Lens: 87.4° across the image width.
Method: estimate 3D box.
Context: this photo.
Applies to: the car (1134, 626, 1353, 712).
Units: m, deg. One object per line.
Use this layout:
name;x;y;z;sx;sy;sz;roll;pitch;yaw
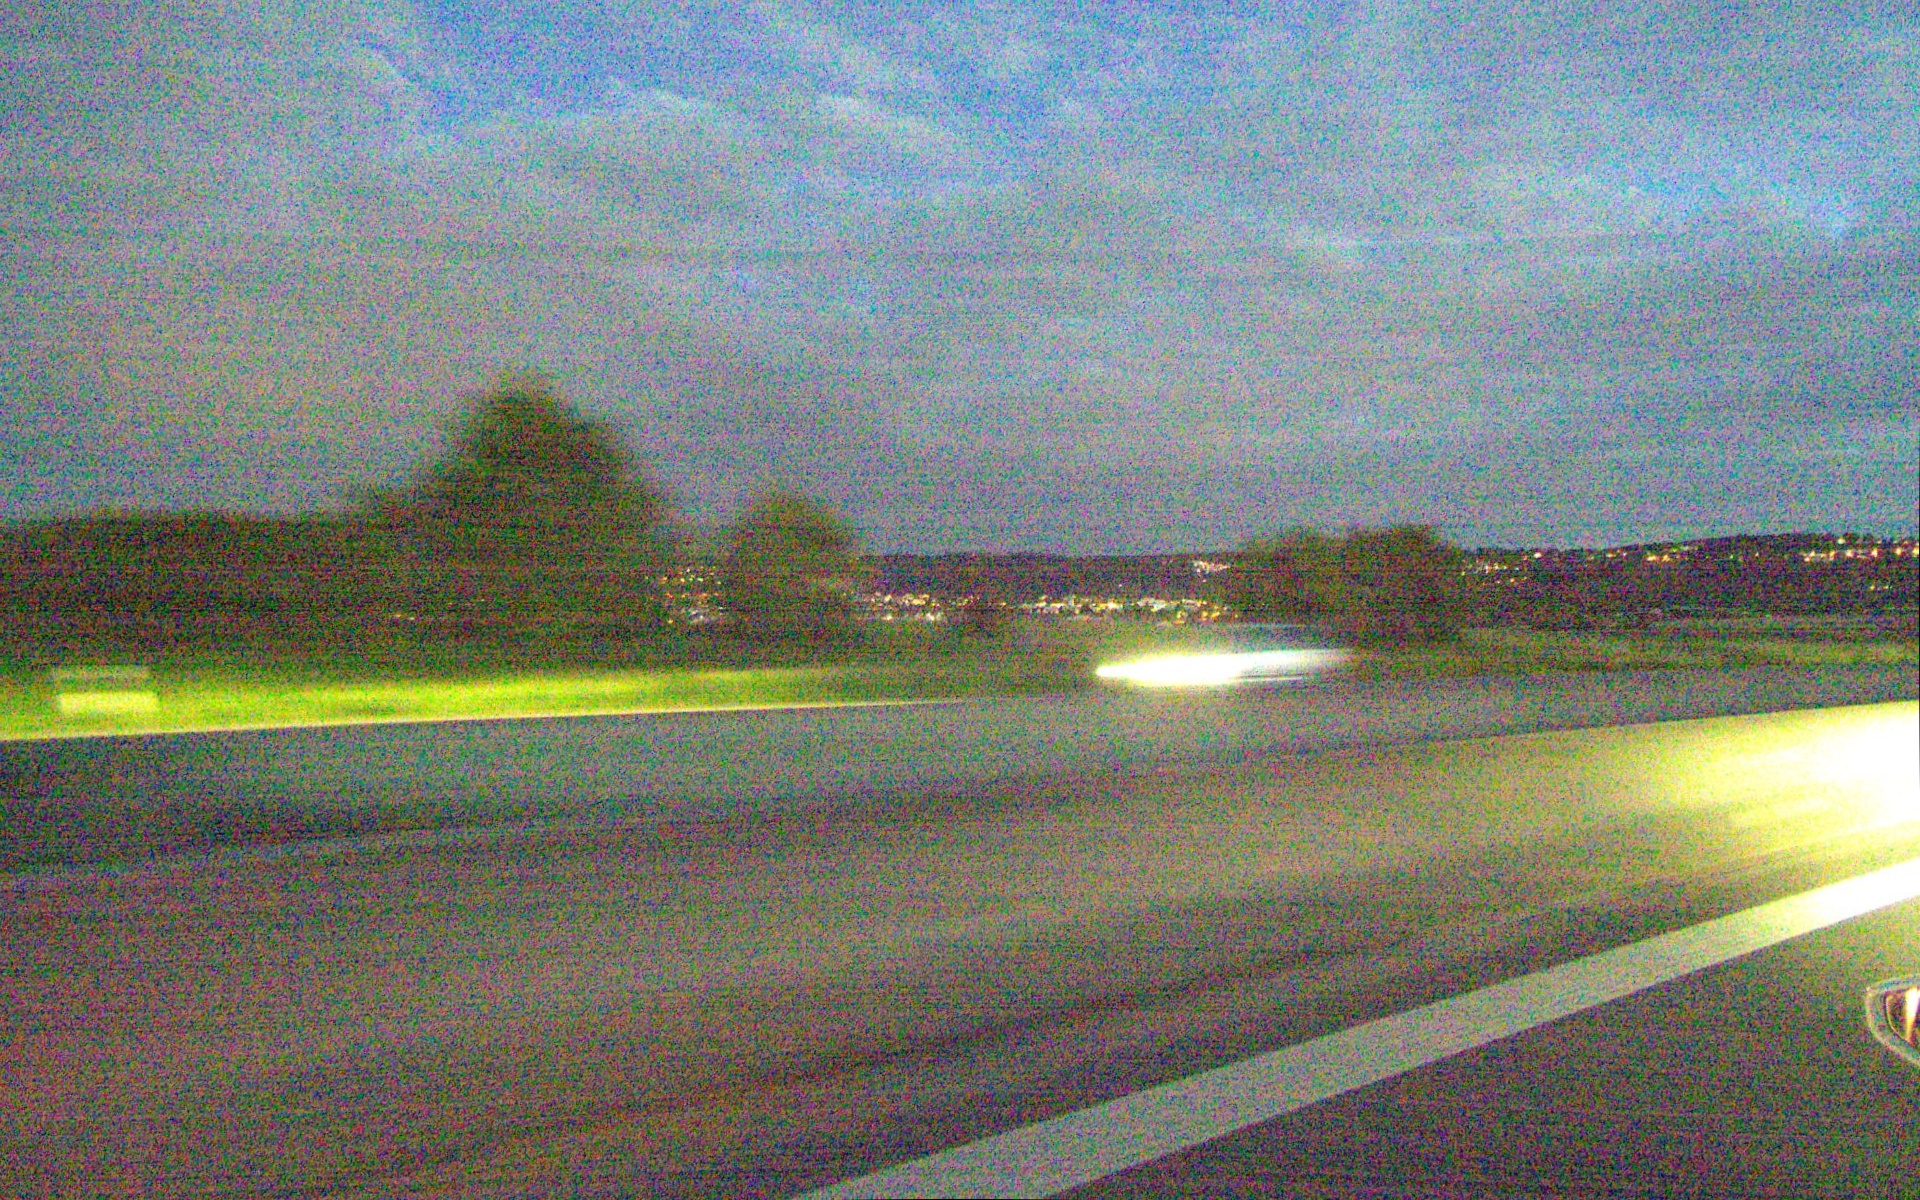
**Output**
car;6.415;1.508;22.630;4.717;1.742;2.036;1;-4;-30
